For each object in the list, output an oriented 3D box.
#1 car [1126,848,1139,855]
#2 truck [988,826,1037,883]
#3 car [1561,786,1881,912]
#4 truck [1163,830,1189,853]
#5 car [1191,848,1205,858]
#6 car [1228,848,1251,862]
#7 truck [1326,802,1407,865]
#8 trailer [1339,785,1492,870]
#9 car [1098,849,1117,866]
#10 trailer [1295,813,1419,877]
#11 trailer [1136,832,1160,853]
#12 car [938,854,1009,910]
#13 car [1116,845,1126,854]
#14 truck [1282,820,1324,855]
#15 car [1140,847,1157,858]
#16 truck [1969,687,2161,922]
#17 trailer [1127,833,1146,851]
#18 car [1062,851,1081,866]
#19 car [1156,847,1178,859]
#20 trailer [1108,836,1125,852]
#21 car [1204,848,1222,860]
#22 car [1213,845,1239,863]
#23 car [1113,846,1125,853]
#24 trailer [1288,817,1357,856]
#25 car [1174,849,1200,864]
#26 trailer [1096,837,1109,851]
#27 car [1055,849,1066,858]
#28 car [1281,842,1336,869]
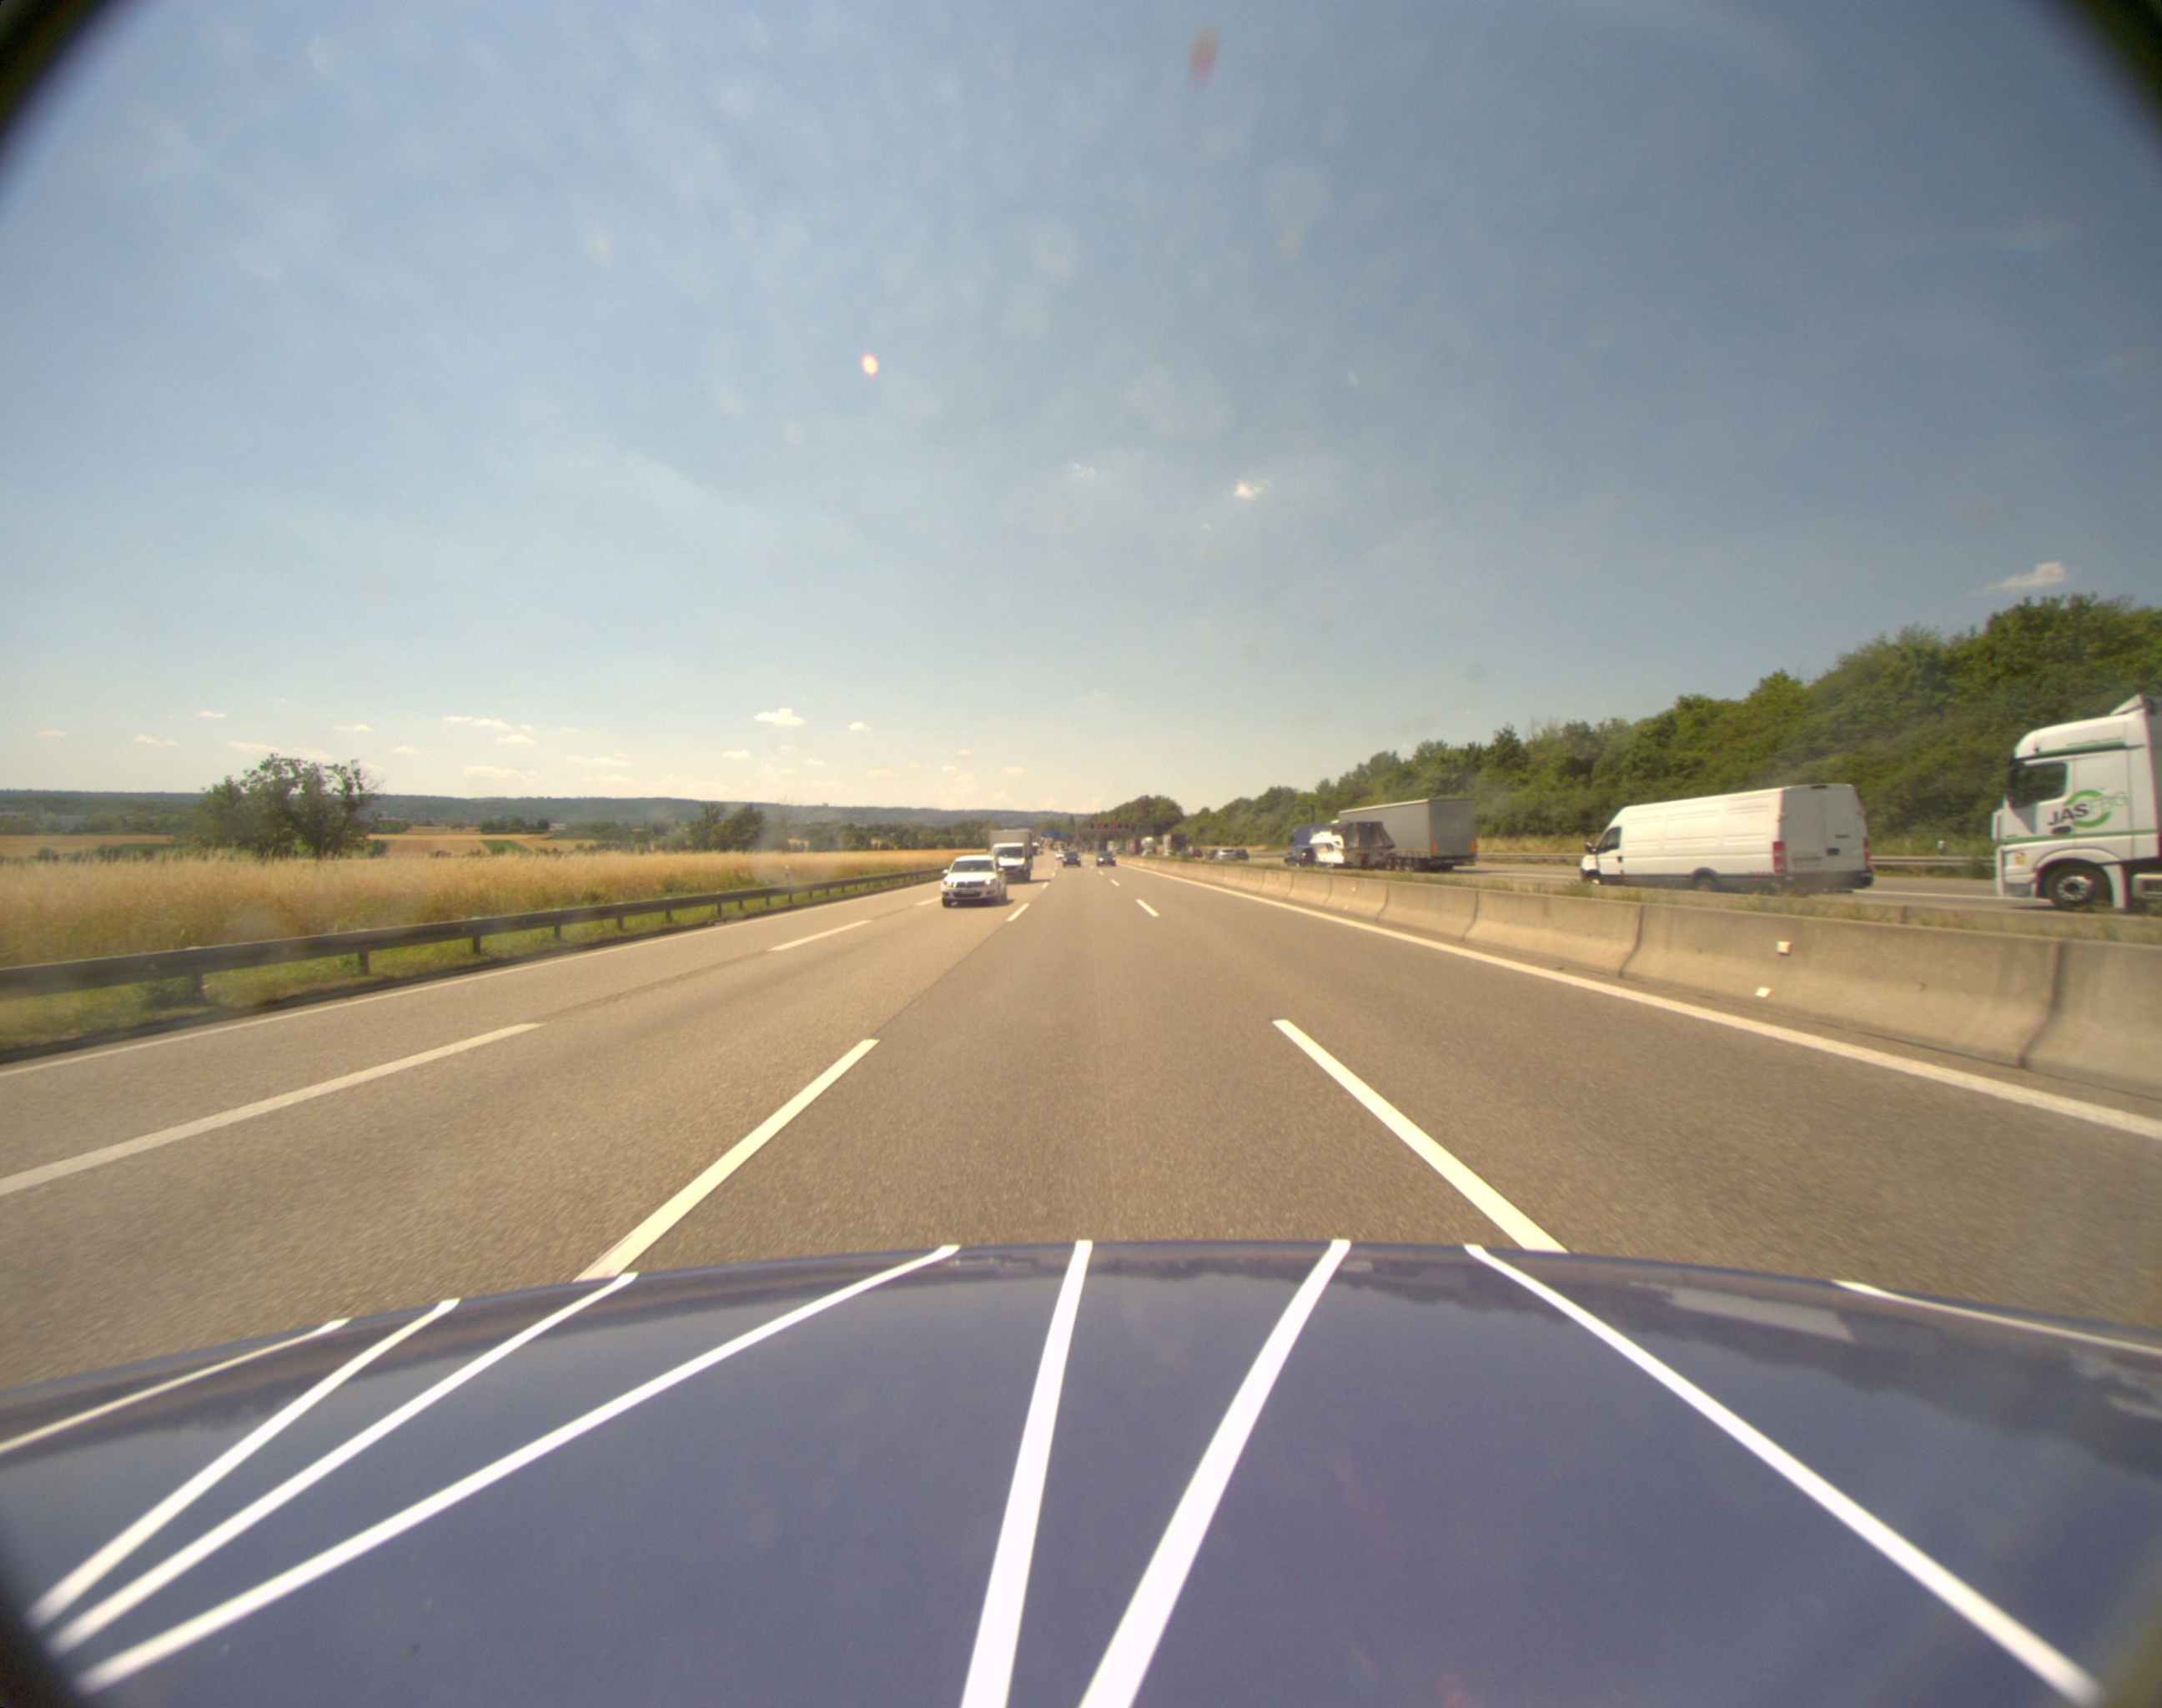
[{"bbox_3d":[9.192,-0.493,135.994,1.796,1.268,4.220,-1,1,-2],"label":"car"},{"bbox_3d":[-3.924,0.009,44.526,2.445,3.011,6.914,-2,1,-3],"label":"truck"},{"bbox_3d":[15.678,-0.138,19.549,1.902,2.559,7.572,-2,0,1],"label":"car"},{"bbox_3d":[16.716,-2.202,134.651,3.017,3.894,10.352,-1,1,-2],"label":"truck"},{"bbox_3d":[17.982,-0.191,116.950,1.751,1.396,4.211,-1,1,3],"label":"car"},{"bbox_3d":[18.299,0.081,87.968,1.998,1.512,4.307,-1,1,3],"label":"car"},{"bbox_3d":[19.804,-1.363,53.123,3.207,4.109,6.182,-1,1,0],"label":"truck"},{"bbox_3d":[19.925,-1.438,46.784,3.230,4.395,13.777,-1,1,0],"label":"trailer"},{"bbox_3d":[2.735,0.382,78.337,1.807,1.534,4.751,-1,-1,2],"label":"car"},{"bbox_3d":[15.583,-0.537,44.119,2.877,3.165,10.725,-2,1,-2],"label":"trailer"},{"bbox_3d":[13.764,-2.372,157.285,2.945,4.141,14.165,-2,1,-3],"label":"trailer"},{"bbox_3d":[-3.523,0.864,25.634,1.837,1.635,4.171,-2,1,-1],"label":"car"},{"bbox_3d":[9.926,-1.116,187.645,1.962,2.018,4.543,-1,1,-4],"label":"car"},{"bbox_3d":[26.824,-1.927,92.254,3.096,4.005,6.093,-2,0,-1],"label":"truck"},{"bbox_3d":[10.509,-0.274,118.509,1.999,1.512,5.149,-1,1,-2],"label":"car"},{"bbox_3d":[19.731,-0.870,12.685,2.855,3.983,5.974,-2,1,1],"label":"truck"},{"bbox_3d":[13.384,-2.893,184.048,2.947,4.087,14.078,-1,1,-3],"label":"trailer"},{"bbox_3d":[-0.982,0.440,79.689,1.866,1.426,3.998,-1,1,-2],"label":"car"},{"bbox_3d":[10.601,-0.185,94.288,1.999,1.436,4.791,-2,1,-2],"label":"car"},{"bbox_3d":[10.435,-3.009,225.097,3.364,4.548,13.641,-2,1,-4],"label":"trailer"},{"bbox_3d":[17.117,0.023,98.562,1.882,1.441,4.632,-1,1,5],"label":"car"},{"bbox_3d":[13.861,-0.009,72.893,1.846,1.667,4.442,-1,1,3],"label":"car"},{"bbox_3d":[8.028,-0.940,161.030,1.848,1.461,4.830,-2,1,-3],"label":"car"},{"bbox_3d":[26.860,-1.815,85.557,3.088,3.948,14.491,-2,0,0],"label":"trailer"},{"bbox_3d":[11.174,0.219,80.553,1.999,1.512,4.306,-1,1,-2],"label":"car"},{"bbox_3d":[7.181,-3.392,259.852,3.021,4.699,11.020,-2,1,-5],"label":"trailer"},{"bbox_3d":[-3.759,-0.104,141.807,1.999,1.467,3.998,-2,1,-2],"label":"car"},{"bbox_3d":[15.419,0.087,51.812,2.112,1.713,4.929,-1,1,-2],"label":"car"}]
